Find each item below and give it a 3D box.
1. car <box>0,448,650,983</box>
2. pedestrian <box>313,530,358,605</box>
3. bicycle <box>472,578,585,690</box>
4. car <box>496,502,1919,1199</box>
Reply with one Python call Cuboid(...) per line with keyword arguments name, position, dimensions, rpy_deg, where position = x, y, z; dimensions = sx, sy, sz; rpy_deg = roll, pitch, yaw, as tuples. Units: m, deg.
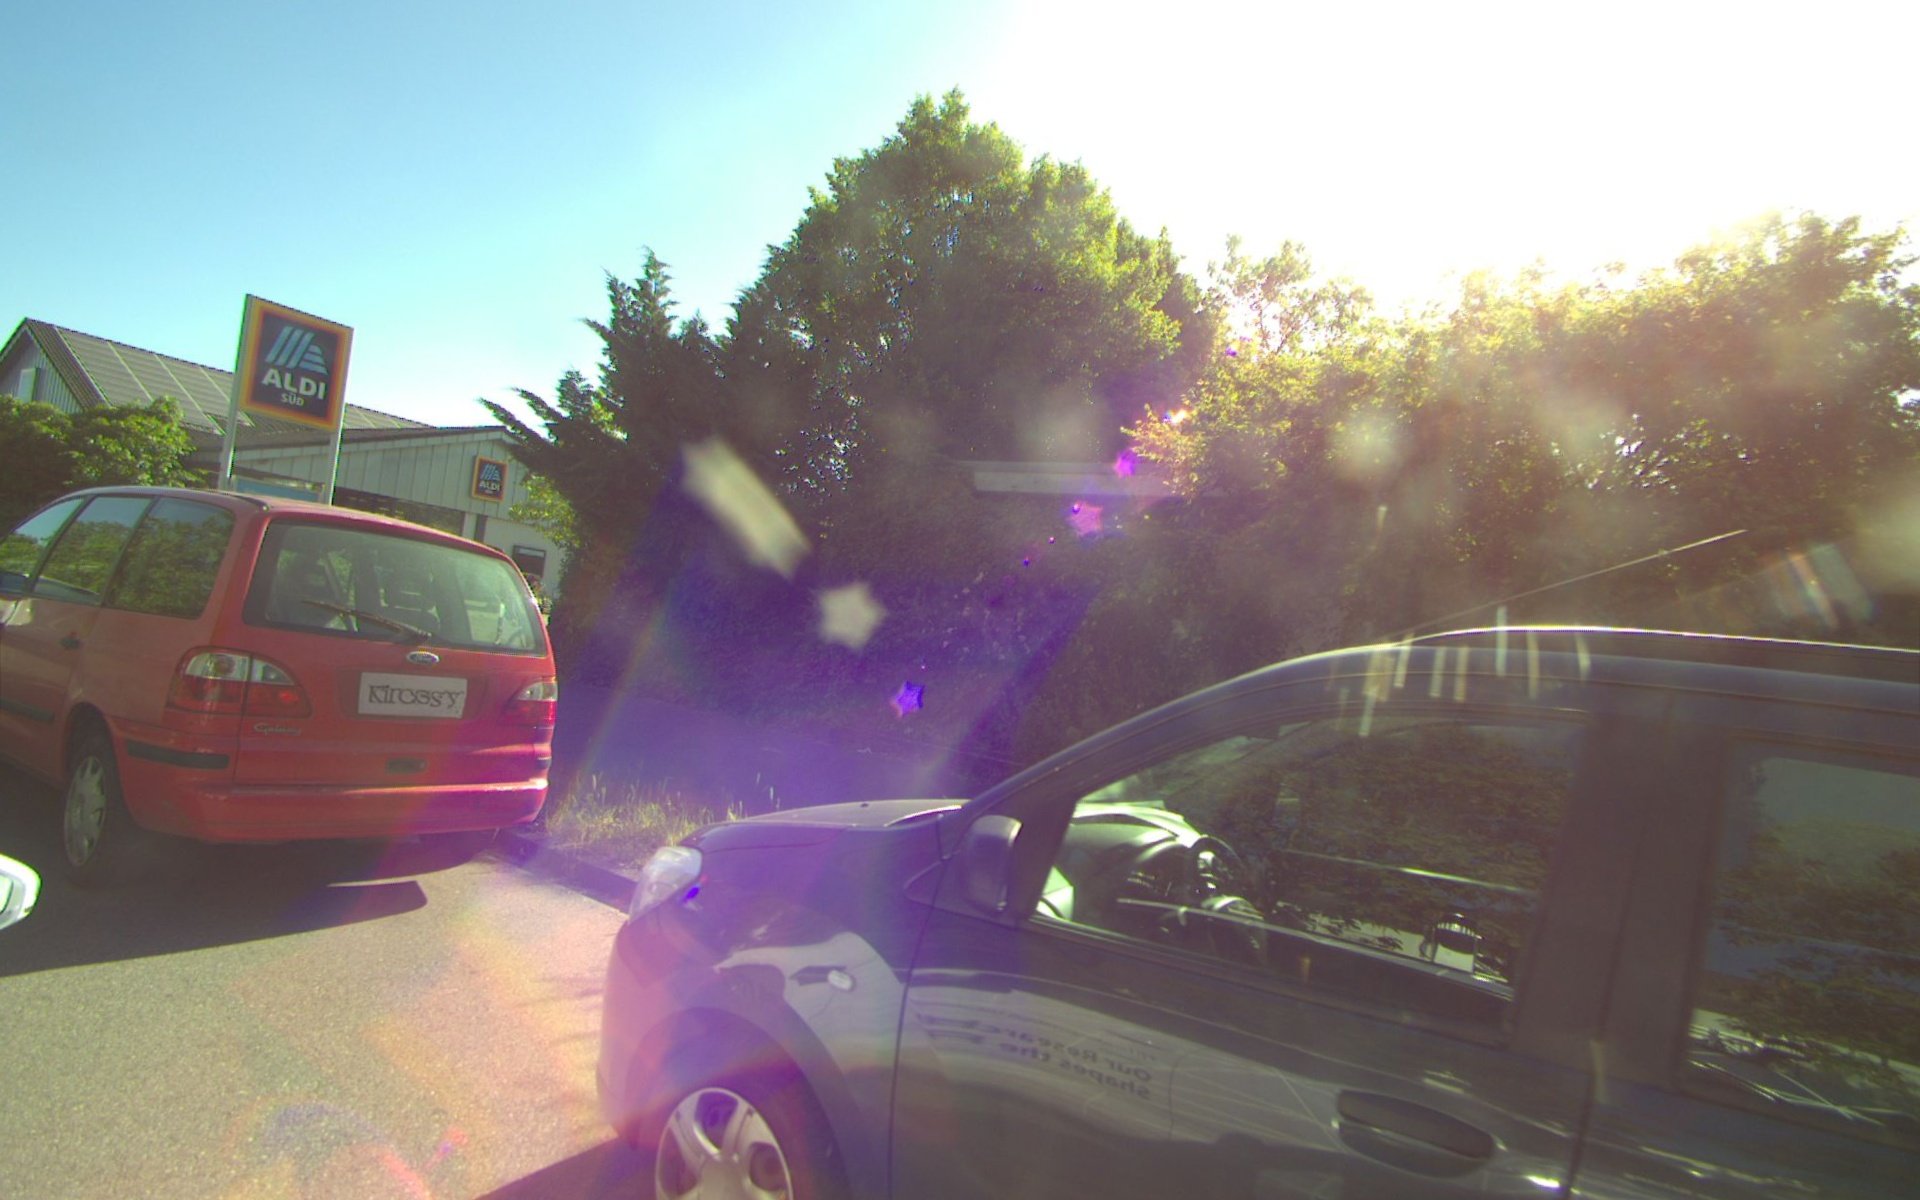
Cuboid(name="car", position=(-4.040, 0.293, 5.518), dimensions=(4.579, 1.826, 1.843), rpy_deg=(7, -2, 34))
Cuboid(name="pedestrian", position=(-14.638, -0.766, 23.572), dimensions=(0.687, 1.650, 0.769), rpy_deg=(8, -1, -35))
Cuboid(name="bicycle", position=(-5.463, 0.397, 12.670), dimensions=(0.717, 1.235, 1.876), rpy_deg=(6, -1, -39))
Cuboid(name="car", position=(1.213, 0.890, 1.963), dimensions=(4.283, 1.675, 1.727), rpy_deg=(7, -2, 34))
